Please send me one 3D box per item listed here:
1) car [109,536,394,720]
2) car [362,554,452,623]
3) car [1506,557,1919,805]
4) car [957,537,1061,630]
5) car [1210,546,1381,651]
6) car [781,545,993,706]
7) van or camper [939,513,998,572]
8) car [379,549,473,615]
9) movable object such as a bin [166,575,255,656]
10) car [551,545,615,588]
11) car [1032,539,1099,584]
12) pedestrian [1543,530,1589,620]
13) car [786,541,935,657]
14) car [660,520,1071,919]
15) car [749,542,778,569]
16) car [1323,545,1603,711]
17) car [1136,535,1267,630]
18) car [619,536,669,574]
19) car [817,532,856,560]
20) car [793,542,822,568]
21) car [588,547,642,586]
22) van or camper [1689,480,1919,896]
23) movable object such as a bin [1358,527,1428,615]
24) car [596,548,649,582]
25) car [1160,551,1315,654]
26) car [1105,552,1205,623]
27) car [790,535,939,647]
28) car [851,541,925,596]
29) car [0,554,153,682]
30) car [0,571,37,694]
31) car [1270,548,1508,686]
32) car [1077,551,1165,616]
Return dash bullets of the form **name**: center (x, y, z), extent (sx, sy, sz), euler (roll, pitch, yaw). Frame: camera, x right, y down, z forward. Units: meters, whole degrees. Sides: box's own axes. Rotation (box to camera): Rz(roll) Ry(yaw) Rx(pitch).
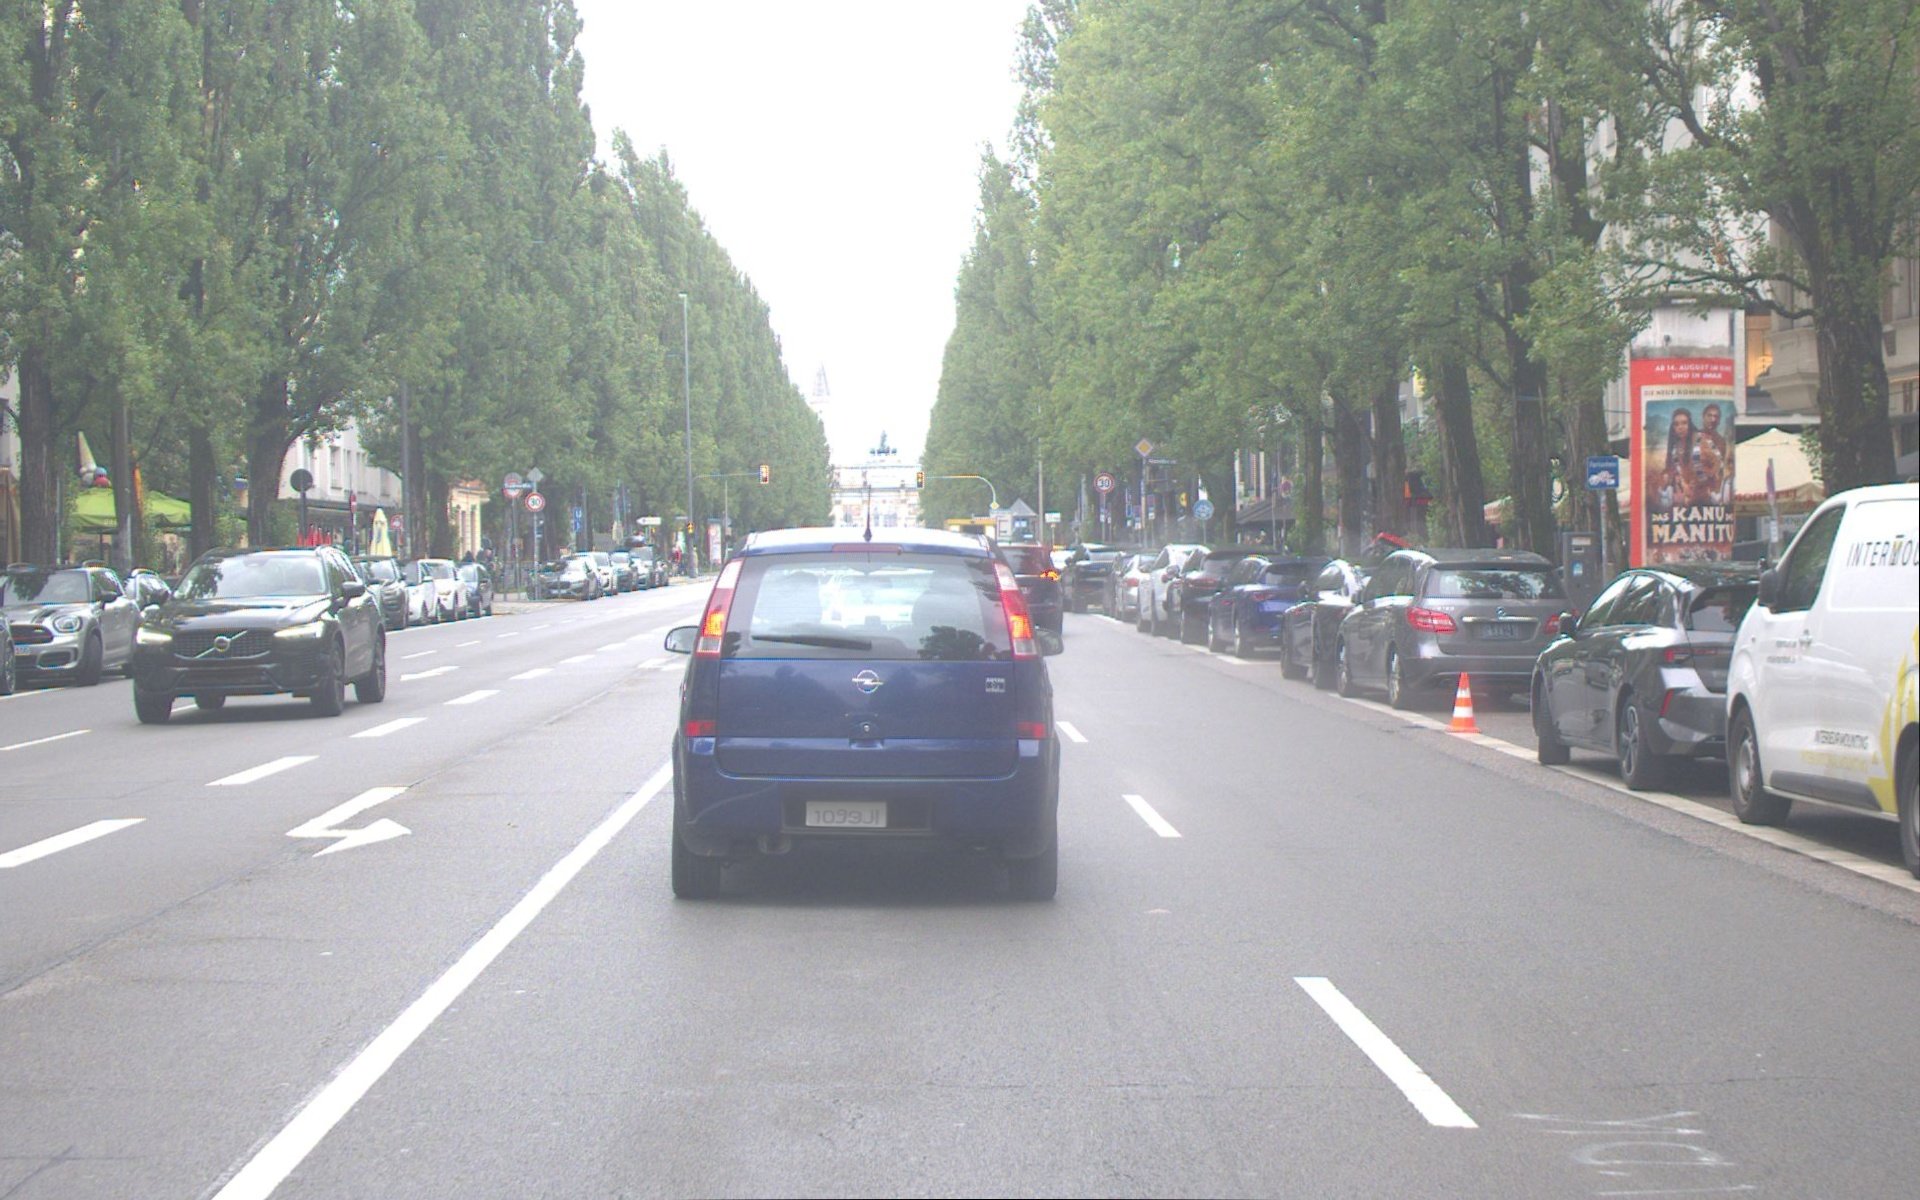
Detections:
- **car**: center (-6.863, 0.221, 33.739), extent (1.935, 1.618, 4.337), euler (-2, 1, -1)
- **car**: center (-12.894, -0.283, 80.301), extent (1.573, 1.528, 2.922), euler (-1, 1, 1)
- **car**: center (4.968, 0.466, 22.893), extent (1.719, 1.437, 4.354), euler (1, 1, -3)
- **car**: center (0.833, -0.319, 60.784), extent (1.706, 1.568, 4.000), euler (-1, 1, -1)
- **car**: center (4.758, -0.057, 49.297), extent (1.749, 1.400, 4.465), euler (-1, 1, -3)
- **car**: center (-0.763, 0.208, 34.656), extent (1.993, 1.492, 4.001), euler (-1, 1, -2)
- **van or camper**: center (0.349, -2.577, 153.880), extent (2.476, 2.572, 5.845), euler (-1, 1, -1)
- **car**: center (-13.038, -0.455, 84.136), extent (1.835, 1.541, 4.087), euler (-1, 1, -3)
- **movable object such as a bin**: center (-12.319, 0.243, 56.538), extent (1.277, 1.305, 0.902), euler (0, 1, -1)
- **car**: center (-12.771, -1.140, 116.661), extent (1.830, 1.415, 3.811), euler (0, 1, -1)
- **car**: center (3.322, -1.236, 108.773), extent (1.897, 1.358, 3.900), euler (-1, 1, -1)
- **pedestrian**: center (12.226, -0.510, 69.332), extent (0.729, 1.796, 0.931), euler (-1, 1, -1)
- **car**: center (-1.355, -0.046, 48.062), extent (1.993, 1.525, 4.000), euler (-1, 1, -1)
- **car**: center (-0.462, 0.455, 16.145), extent (1.681, 1.635, 4.001), euler (0, 1, -2)
- **car**: center (-13.178, -2.976, 230.327), extent (1.835, 1.733, 3.779), euler (-1, 1, -2)
- **car**: center (4.869, 0.223, 33.867), extent (1.816, 1.501, 4.233), euler (-1, 1, -4)
- **car**: center (4.264, -0.332, 61.391), extent (1.827, 1.615, 4.748), euler (1, 1, -2)
- **car**: center (-14.335, -2.046, 156.048), extent (1.993, 1.656, 4.000), euler (-1, 1, -2)
- **car**: center (-6.296, -2.752, 176.043), extent (1.961, 1.394, 3.779), euler (-1, 1, -2)
- **car**: center (-10.118, -2.988, 228.108), extent (1.835, 1.671, 3.779), euler (-1, 1, -2)
- **car**: center (-13.998, -1.356, 139.754), extent (1.961, 1.525, 4.001), euler (-1, 1, -3)
- **van or camper**: center (5.209, 0.365, 17.415), extent (1.868, 1.876, 4.903), euler (0, 1, -1)
- **movable object such as a bin**: center (8.517, -0.568, 67.638), extent (1.032, 1.697, 1.587), euler (-1, 1, -5)
- **car**: center (-14.249, -1.494, 145.333), extent (1.961, 1.394, 3.779), euler (-1, 1, -2)
- **car**: center (4.461, 0.002, 55.809), extent (1.993, 1.560, 4.484), euler (-1, 1, -2)
- **car**: center (4.028, -0.280, 71.537), extent (1.670, 1.401, 4.128), euler (1, 1, -2)
- **car**: center (-1.368, -0.160, 48.514), extent (1.993, 1.492, 4.001), euler (-1, 1, -2)
- **car**: center (-2.048, -0.912, 96.812), extent (1.993, 1.492, 4.000), euler (-1, 1, -2)
- **car**: center (-11.925, 0.203, 45.075), extent (1.782, 1.570, 4.133), euler (-1, 1, -1)
- **car**: center (-12.068, 0.425, 39.967), extent (1.684, 1.419, 4.689), euler (-3, 1, -4)
- **car**: center (4.769, 0.145, 38.872), extent (1.878, 1.427, 4.805), euler (-1, 1, -2)
- **car**: center (3.633, -0.387, 78.084), extent (1.681, 1.410, 3.583), euler (1, 1, -2)
